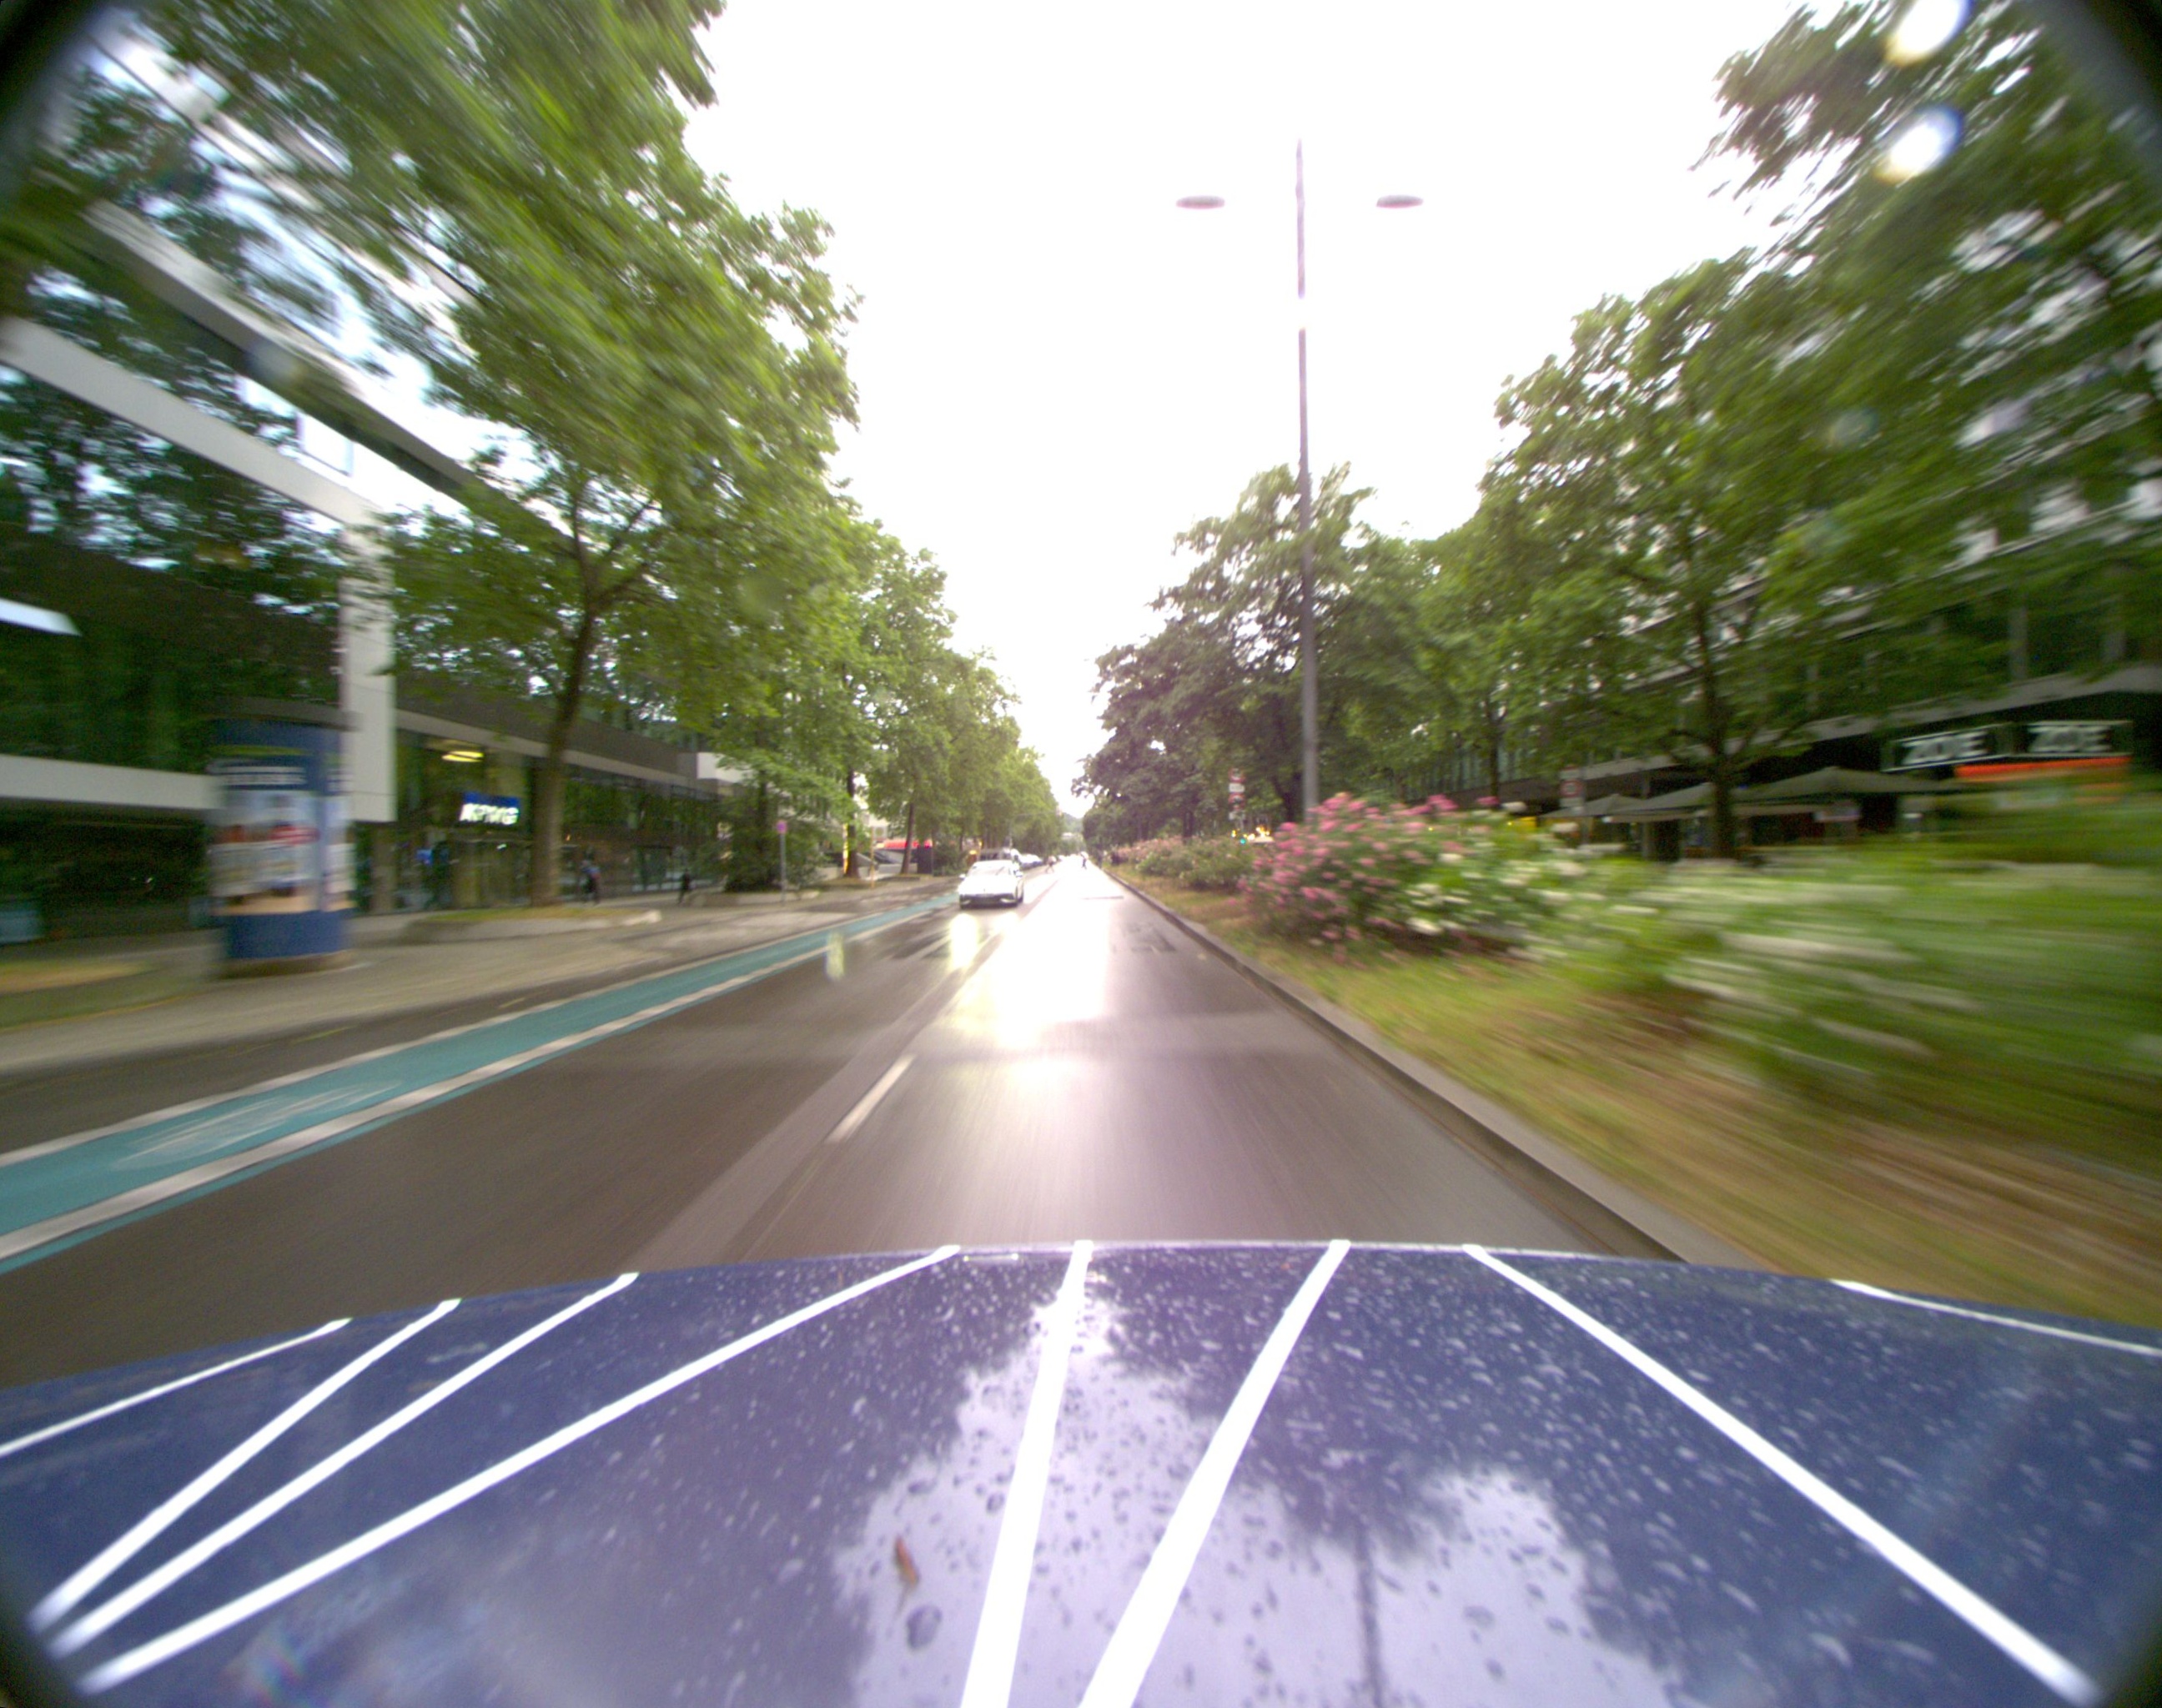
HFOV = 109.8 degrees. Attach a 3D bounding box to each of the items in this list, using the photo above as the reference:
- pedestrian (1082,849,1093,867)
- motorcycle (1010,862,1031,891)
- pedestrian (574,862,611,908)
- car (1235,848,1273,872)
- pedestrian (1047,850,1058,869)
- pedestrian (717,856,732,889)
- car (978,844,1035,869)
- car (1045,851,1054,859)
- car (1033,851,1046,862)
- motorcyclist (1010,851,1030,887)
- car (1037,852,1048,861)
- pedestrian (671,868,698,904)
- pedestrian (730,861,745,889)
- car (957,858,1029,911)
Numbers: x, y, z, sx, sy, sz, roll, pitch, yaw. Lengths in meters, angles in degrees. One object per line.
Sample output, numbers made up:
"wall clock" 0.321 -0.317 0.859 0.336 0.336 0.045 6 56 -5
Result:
"pedestrian" 0.691 0.412 78.539 0.892 1.839 0.787 -2 1 -9
"motorcycle" -2.817 1.019 35.364 0.744 1.194 2.235 -2 1 0
"pedestrian" -19.372 1.227 30.159 0.789 1.783 1.086 1 0 -6
"car" 11.578 0.376 51.044 1.642 1.456 4.034 -2 0 1
"pedestrian" -2.780 0.509 73.277 0.891 1.839 0.721 -2 1 6
"pedestrian" -20.704 1.081 44.169 0.524 1.848 0.704 1 2 0
"car" -8.336 0.290 85.083 6.268 2.665 2.326 -1 1 36
"car" -6.243 0.286 150.652 1.598 1.517 3.425 -2 0 0
"car" -5.882 0.334 108.896 1.598 1.517 3.425 -2 0 0
"motorcyclist" -2.830 0.686 35.272 0.744 1.575 1.059 -2 1 0
"car" -6.439 0.431 126.288 1.598 1.517 3.425 -2 0 0
"pedestrian" -17.135 1.369 32.848 0.588 1.496 1.005 -1 0 1
"pedestrian" -19.970 1.209 44.141 0.527 1.616 0.719 1 2 0
"car" -2.798 0.932 24.837 1.795 1.463 3.793 -2 0 1
